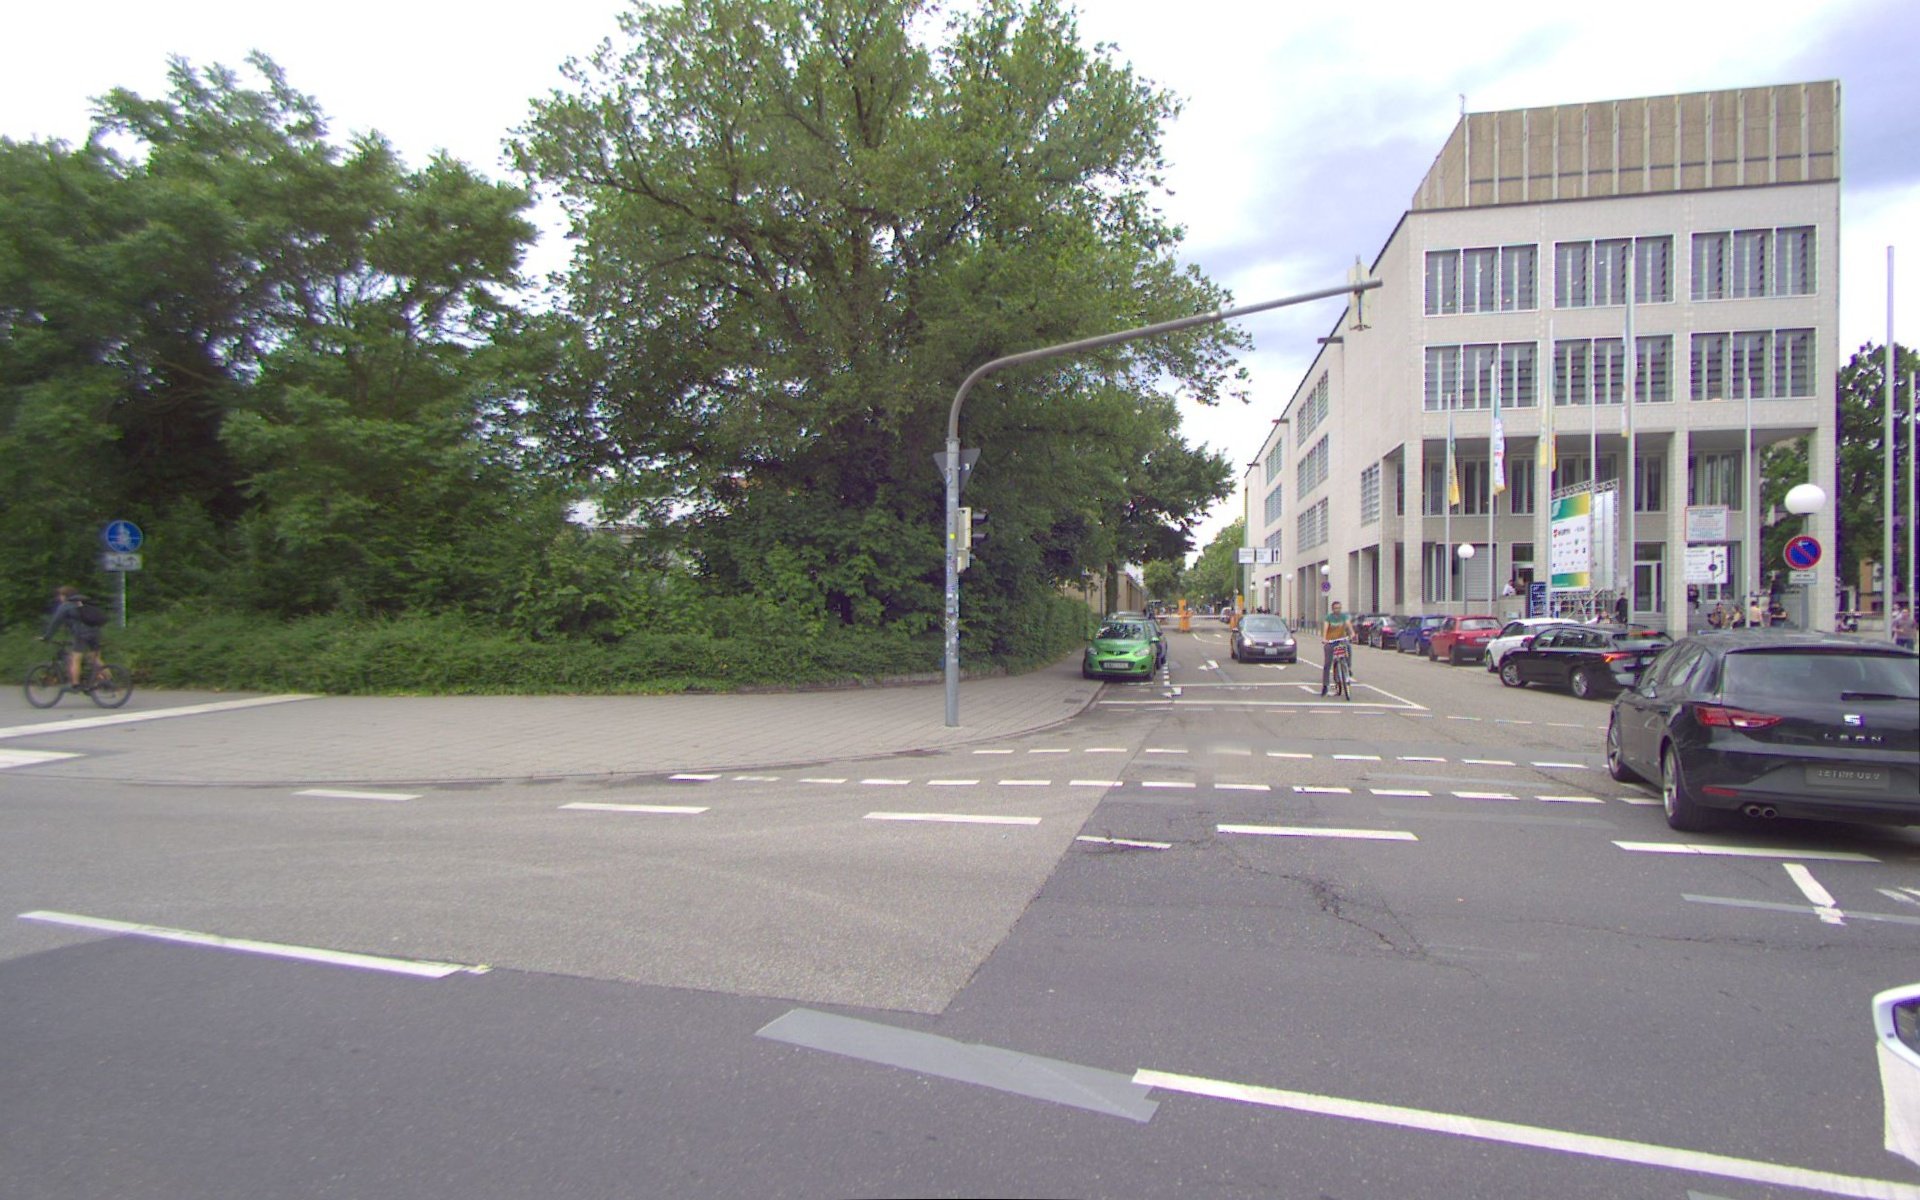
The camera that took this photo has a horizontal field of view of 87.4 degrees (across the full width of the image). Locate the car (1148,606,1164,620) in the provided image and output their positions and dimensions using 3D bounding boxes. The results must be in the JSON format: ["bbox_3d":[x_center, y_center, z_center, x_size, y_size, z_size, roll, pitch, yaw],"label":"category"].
[{"bbox_3d":[23.484,1.591,120.401,1.740,1.622,4.002,0,0,10],"label":"car"}]

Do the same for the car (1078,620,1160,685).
[{"bbox_3d":[4.168,1.275,25.788,1.767,1.489,4.251,-1,-1,13],"label":"car"}]

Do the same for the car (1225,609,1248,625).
[{"bbox_3d":[29.418,1.812,106.904,1.959,1.644,4.431,-1,-1,11],"label":"car"}]

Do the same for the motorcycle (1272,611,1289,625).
[{"bbox_3d":[31.106,1.737,97.489,0.749,1.164,2.653,2,3,36],"label":"motorcycle"}]

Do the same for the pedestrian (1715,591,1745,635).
[{"bbox_3d":[31.055,0.524,40.529,0.763,1.738,0.604,0,-1,13],"label":"pedestrian"}]

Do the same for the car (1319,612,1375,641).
[{"bbox_3d":[20.337,1.380,53.031,1.959,1.471,4.926,0,-1,11],"label":"car"}]

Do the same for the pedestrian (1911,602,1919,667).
[{"bbox_3d":[27.473,0.986,28.599,0.521,1.829,0.556,-1,-1,39],"label":"pedestrian"}]

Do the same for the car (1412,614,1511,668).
[{"bbox_3d":[15.827,1.259,31.924,1.683,1.493,4.276,-2,-1,11],"label":"car"}]

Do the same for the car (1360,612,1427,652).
[{"bbox_3d":[18.264,1.319,42.500,1.817,1.461,4.420,0,1,12],"label":"car"}]

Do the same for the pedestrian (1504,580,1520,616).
[{"bbox_3d":[26.797,-0.104,48.767,0.620,1.681,0.806,2,3,28],"label":"pedestrian"}]

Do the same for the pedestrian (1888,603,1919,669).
[{"bbox_3d":[27.175,1.032,28.828,0.632,1.832,0.646,2,3,34],"label":"pedestrian"}]

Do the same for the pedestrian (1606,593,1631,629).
[{"bbox_3d":[29.057,0.466,44.322,0.700,1.547,0.631,1,2,13],"label":"pedestrian"}]

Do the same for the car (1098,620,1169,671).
[{"bbox_3d":[5.384,1.344,30.759,1.767,1.427,4.338,-1,-1,15],"label":"car"}]

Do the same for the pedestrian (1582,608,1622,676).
[{"bbox_3d":[17.430,1.124,27.303,0.778,1.811,0.821,0,-1,23],"label":"pedestrian"}]

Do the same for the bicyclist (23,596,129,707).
[{"bbox_3d":[-13.524,0.764,15.393,0.905,1.630,0.766,0,2,-4],"label":"bicyclist"}]

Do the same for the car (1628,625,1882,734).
[{"bbox_3d":[12.931,1.220,16.685,1.594,1.521,4.108,-2,-1,12],"label":"car"}]

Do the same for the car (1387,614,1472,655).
[{"bbox_3d":[17.379,1.235,37.391,1.666,1.430,4.379,-1,-1,8],"label":"car"}]

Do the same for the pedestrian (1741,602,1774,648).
[{"bbox_3d":[31.813,0.995,40.062,0.707,1.808,0.737,0,-1,-2],"label":"pedestrian"}]

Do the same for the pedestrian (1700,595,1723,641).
[{"bbox_3d":[31.240,0.751,41.756,0.581,1.865,0.620,0,-1,13],"label":"pedestrian"}]

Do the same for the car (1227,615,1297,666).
[{"bbox_3d":[9.607,1.251,32.211,1.752,1.517,4.170,-1,-1,11],"label":"car"}]

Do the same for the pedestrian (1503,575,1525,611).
[{"bbox_3d":[26.429,-0.329,47.909,0.794,1.681,0.629,2,3,36],"label":"pedestrian"}]

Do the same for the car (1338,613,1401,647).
[{"bbox_3d":[19.211,1.372,47.301,1.787,1.462,4.523,-2,-1,10],"label":"car"}]

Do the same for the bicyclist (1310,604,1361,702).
[{"bbox_3d":[7.107,0.985,19.040,0.646,1.803,0.984,0,-1,4],"label":"bicyclist"}]

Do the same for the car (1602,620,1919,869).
[{"bbox_3d":[6.468,0.916,8.035,1.755,1.438,4.125,0,0,26],"label":"car"}]

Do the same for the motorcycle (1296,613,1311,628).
[{"bbox_3d":[27.792,1.641,81.224,0.558,1.164,2.209,2,3,36],"label":"motorcycle"}]

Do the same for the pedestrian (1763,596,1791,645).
[{"bbox_3d":[31.835,0.812,39.136,0.770,1.889,0.599,0,-1,-30],"label":"pedestrian"}]

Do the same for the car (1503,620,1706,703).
[{"bbox_3d":[13.408,1.210,21.262,1.829,1.420,4.481,-3,0,8],"label":"car"}]

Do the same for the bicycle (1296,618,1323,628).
[{"bbox_3d":[27.182,1.805,78.104,1.864,0.708,0.493,1,2,8],"label":"bicycle"}]

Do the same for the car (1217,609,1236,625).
[{"bbox_3d":[32.719,2.091,123.537,1.959,1.805,4.431,-2,-1,11],"label":"car"}]

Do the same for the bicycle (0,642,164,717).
[{"bbox_3d":[-13.487,1.205,15.422,1.829,1.051,0.782,0,2,-3],"label":"bicycle"}]

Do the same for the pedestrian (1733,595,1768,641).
[{"bbox_3d":[30.896,0.702,39.265,0.749,1.808,0.737,0,-1,-2],"label":"pedestrian"}]

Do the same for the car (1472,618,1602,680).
[{"bbox_3d":[15.049,1.232,26.445,1.829,1.472,3.861,0,0,11],"label":"car"}]

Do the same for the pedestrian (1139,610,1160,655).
[{"bbox_3d":[7.336,1.260,38.878,0.726,1.684,0.968,-1,1,13],"label":"pedestrian"}]

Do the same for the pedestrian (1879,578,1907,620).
[{"bbox_3d":[37.669,-0.036,40.546,0.925,1.663,0.727,-2,3,-44],"label":"pedestrian"}]

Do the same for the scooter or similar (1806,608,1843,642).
[{"bbox_3d":[36.374,1.051,42.262,1.467,1.388,0.404,0,2,-16],"label":"scooter or similar"}]

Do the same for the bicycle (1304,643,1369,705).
[{"bbox_3d":[7.106,1.375,19.032,0.646,1.051,1.858,0,-1,4],"label":"bicycle"}]
